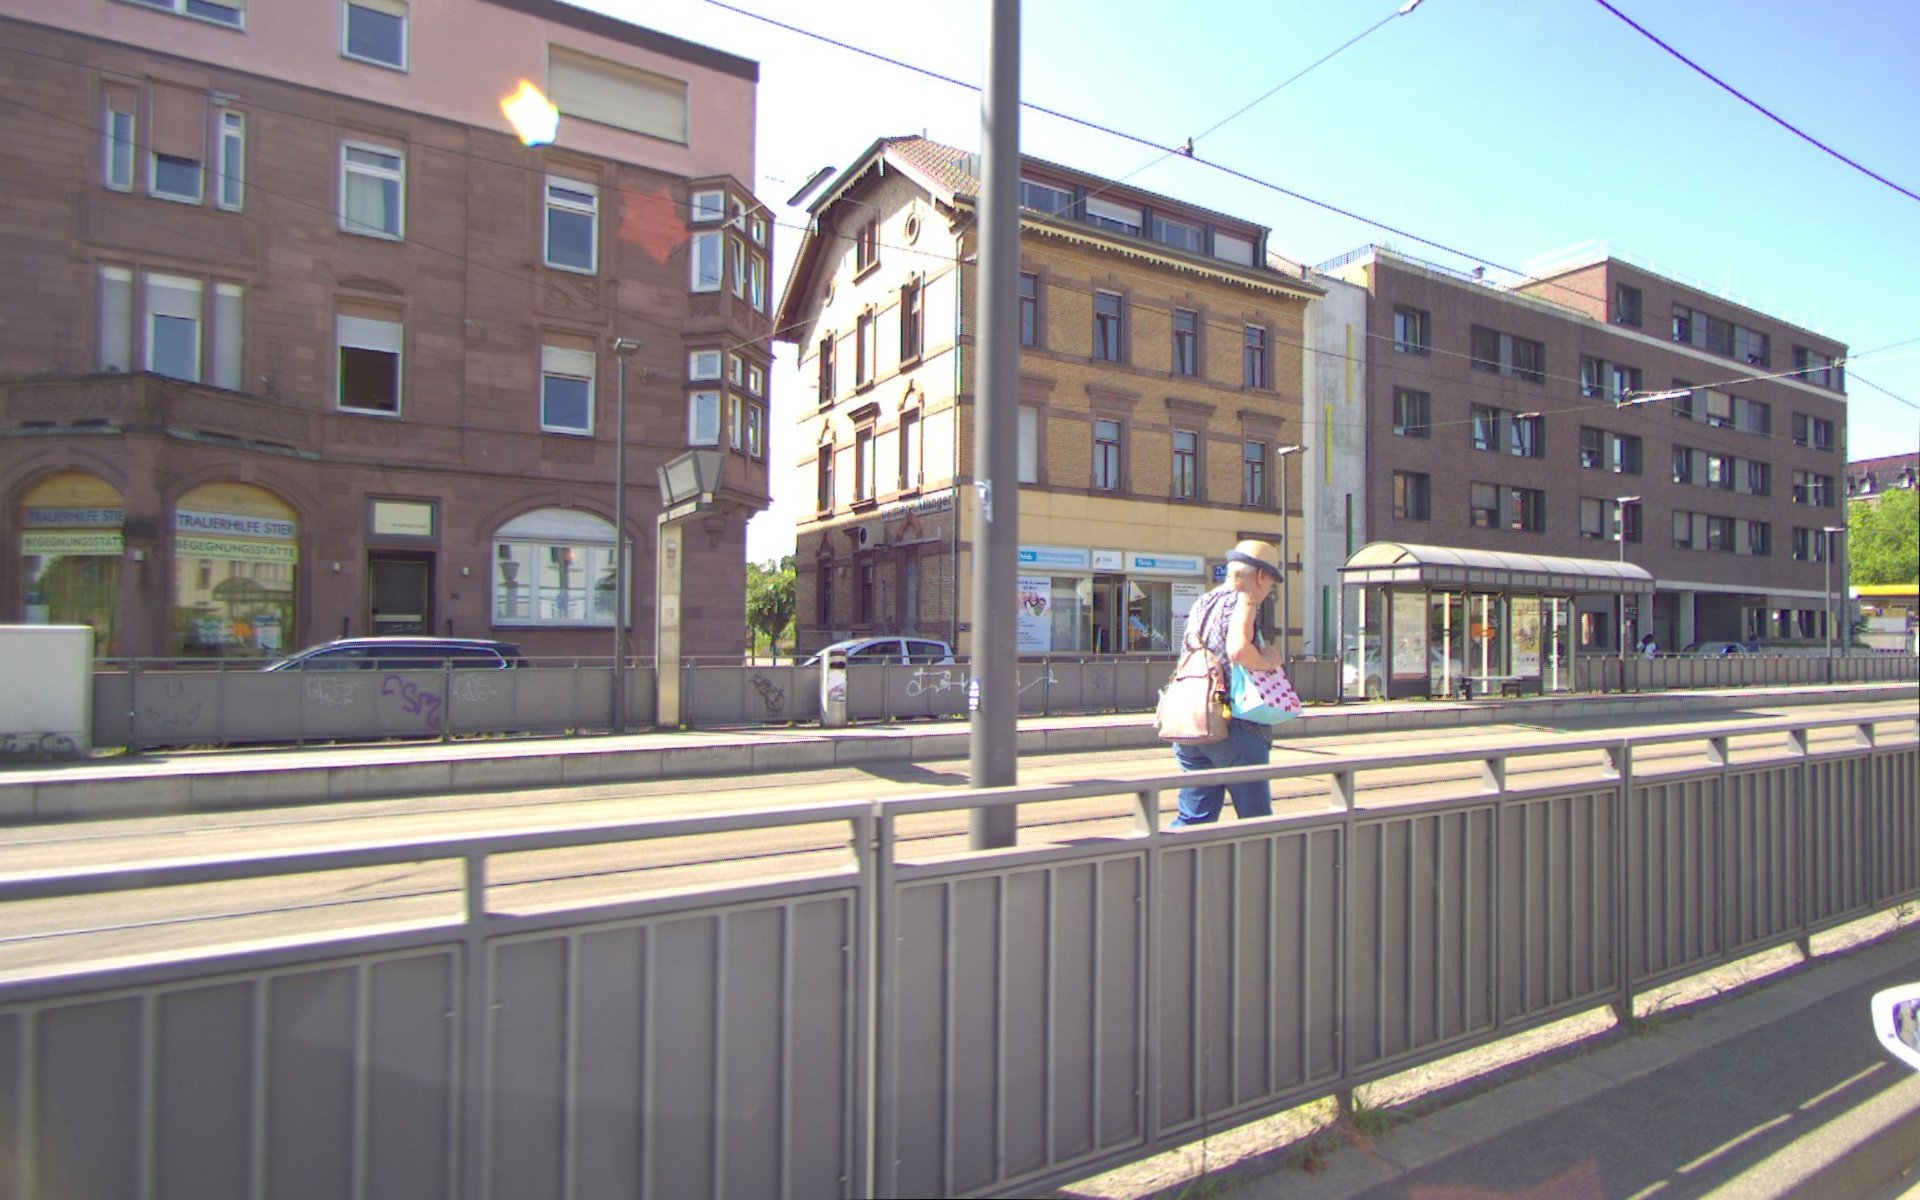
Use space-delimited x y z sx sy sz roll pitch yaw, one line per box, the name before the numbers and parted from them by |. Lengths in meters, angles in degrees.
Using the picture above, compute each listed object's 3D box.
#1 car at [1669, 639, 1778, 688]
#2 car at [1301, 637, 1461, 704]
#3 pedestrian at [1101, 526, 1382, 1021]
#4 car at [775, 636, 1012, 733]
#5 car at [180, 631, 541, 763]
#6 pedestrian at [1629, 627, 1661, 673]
car | 24.662 2.017 32.430 3.696 1.478 1.564 2 -2 -32
car | 10.102 1.641 24.043 3.891 1.478 1.564 2 -2 -32
pedestrian | 1.182 0.662 4.300 0.823 1.833 0.823 1 -2 -29
car | -1.087 1.353 16.892 3.696 1.478 1.564 2 -2 -32
car | -7.573 1.159 12.955 3.774 1.478 1.563 2 -2 -34
pedestrian | 27.242 1.980 39.945 0.953 1.814 0.721 1 -2 -30
